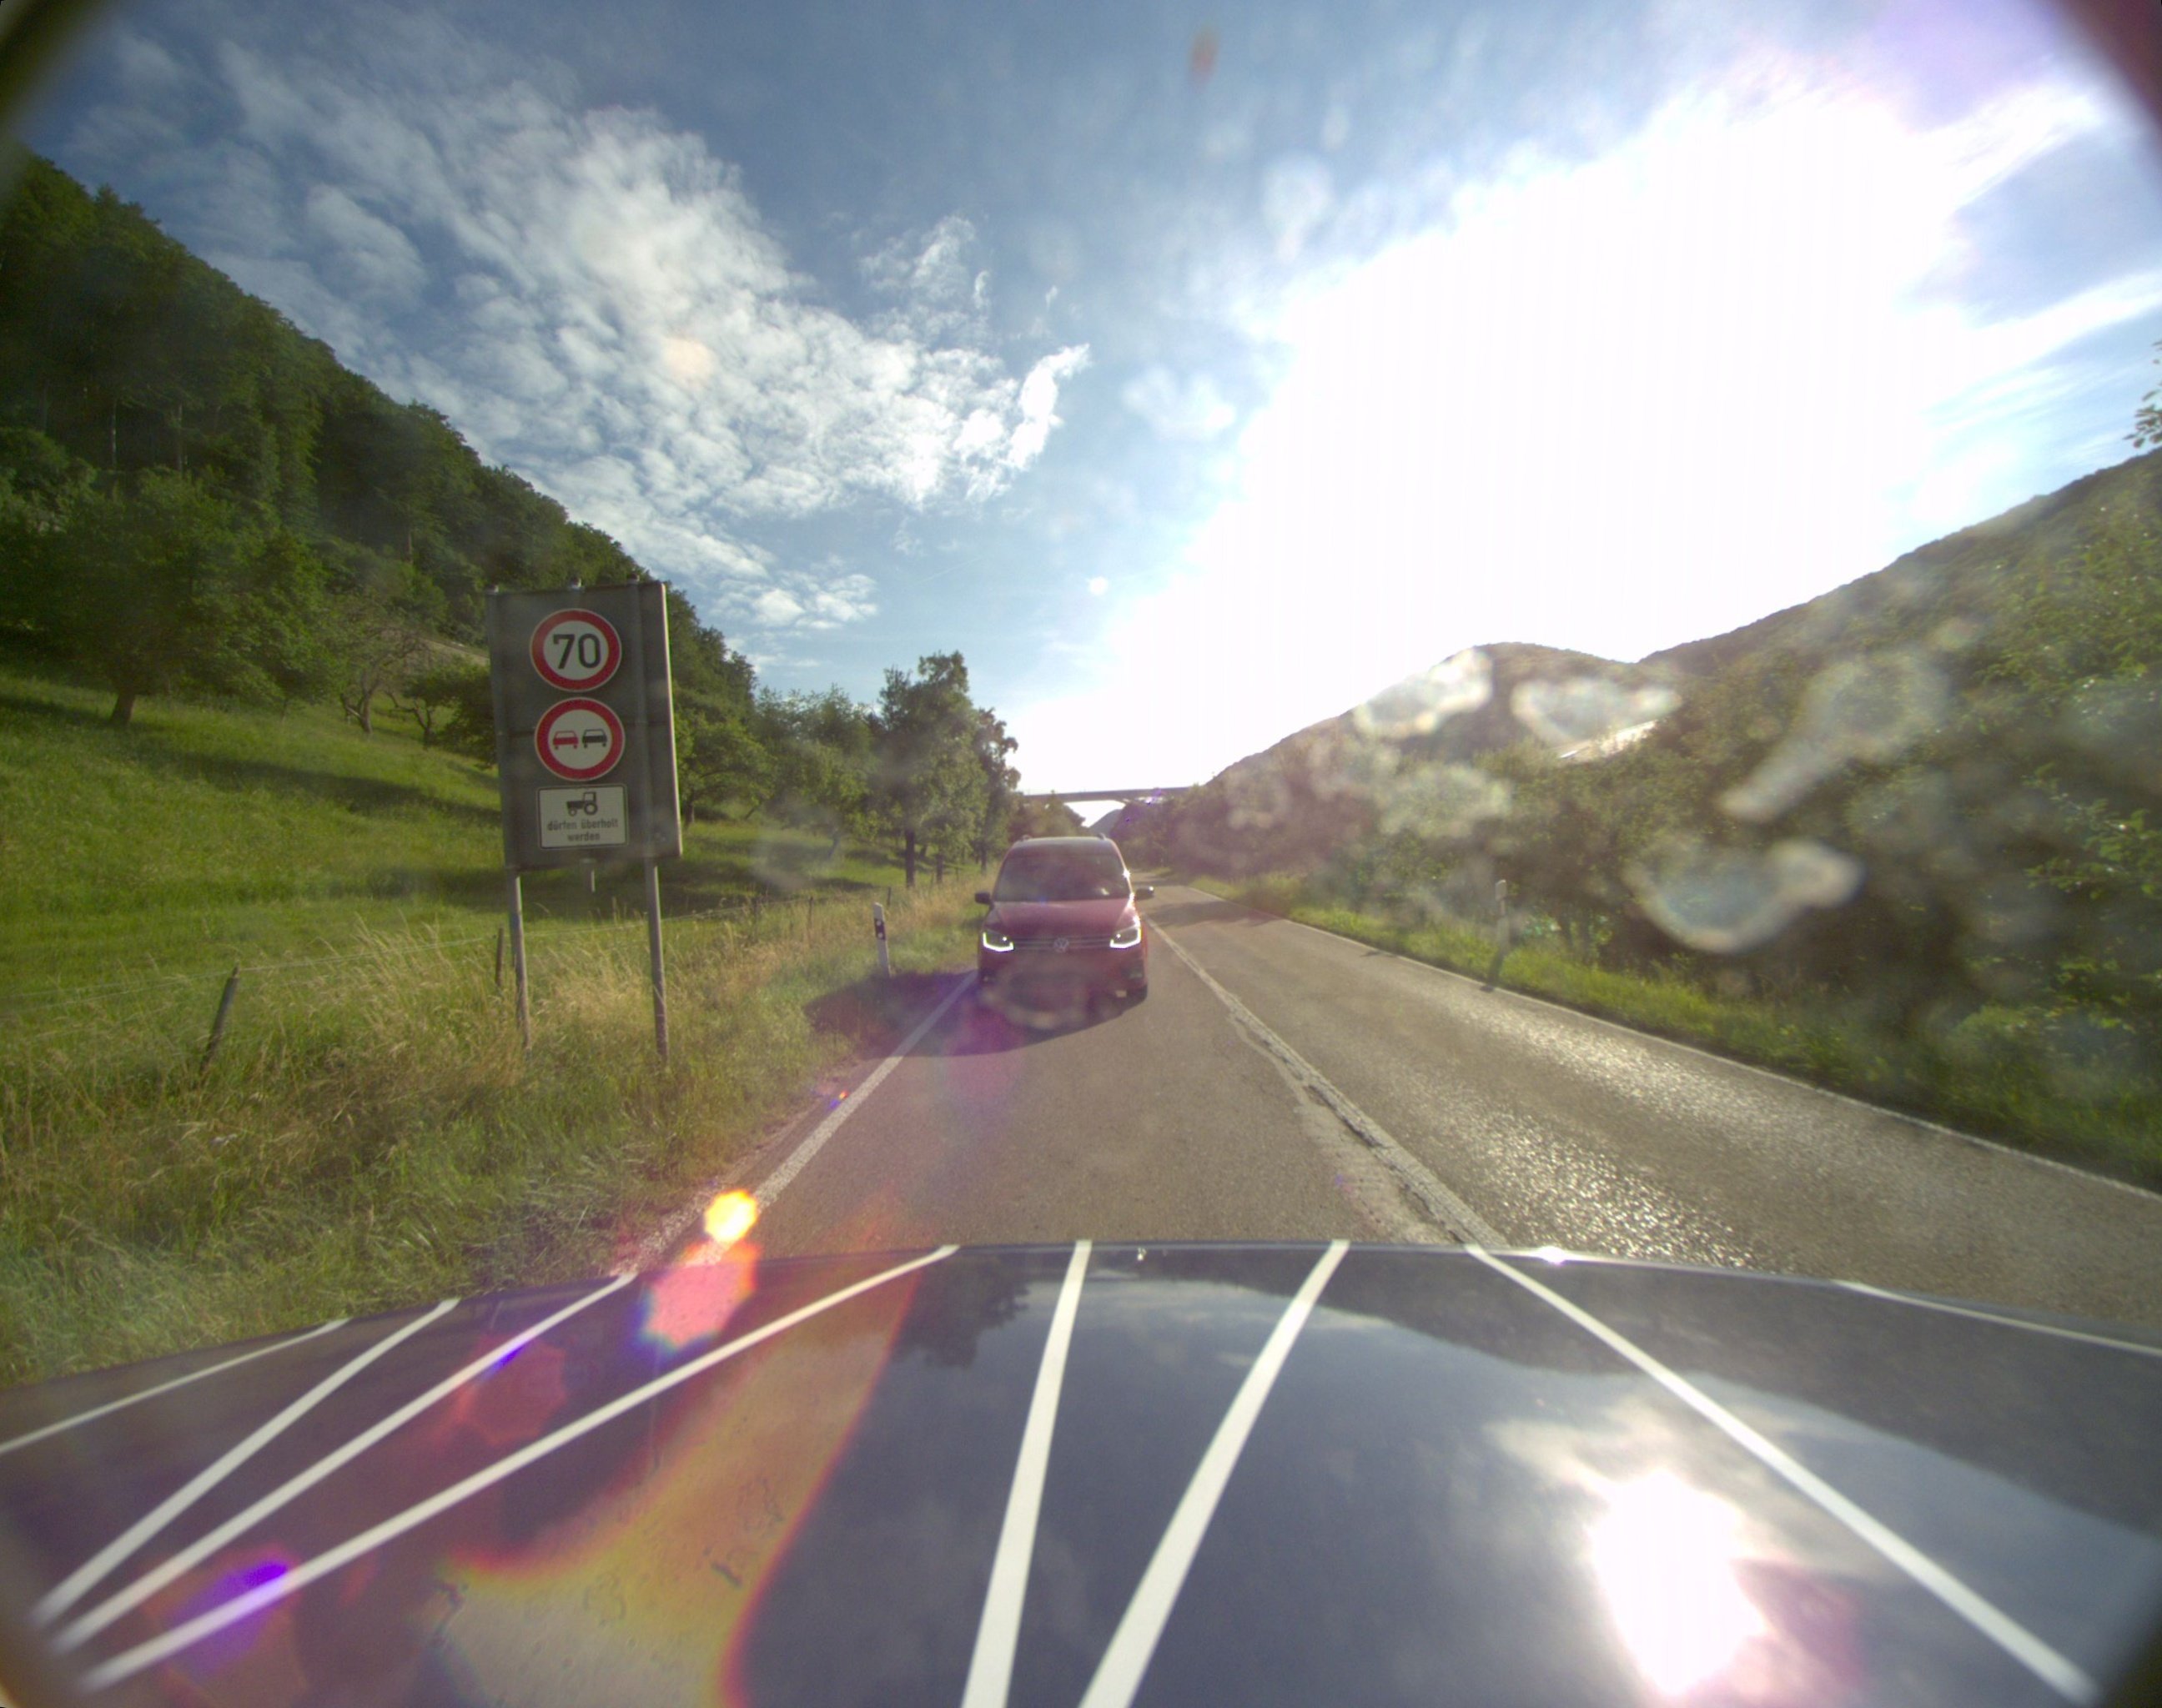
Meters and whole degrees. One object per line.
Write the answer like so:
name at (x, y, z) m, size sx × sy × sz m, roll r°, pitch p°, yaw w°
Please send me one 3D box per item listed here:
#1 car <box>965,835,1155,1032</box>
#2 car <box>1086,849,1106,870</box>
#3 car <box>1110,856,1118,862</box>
car at (-0.216, 0.745, 9.097) m, size 1.741 × 1.803 × 4.000 m, roll -1°, pitch 0°, yaw -1°
car at (1.597, 0.543, 80.204) m, size 1.998 × 2.002 × 3.999 m, roll -2°, pitch 1°, yaw 1°
car at (7.793, 1.226, 178.768) m, size 1.696 × 1.401 × 3.663 m, roll -1°, pitch 1°, yaw 1°
